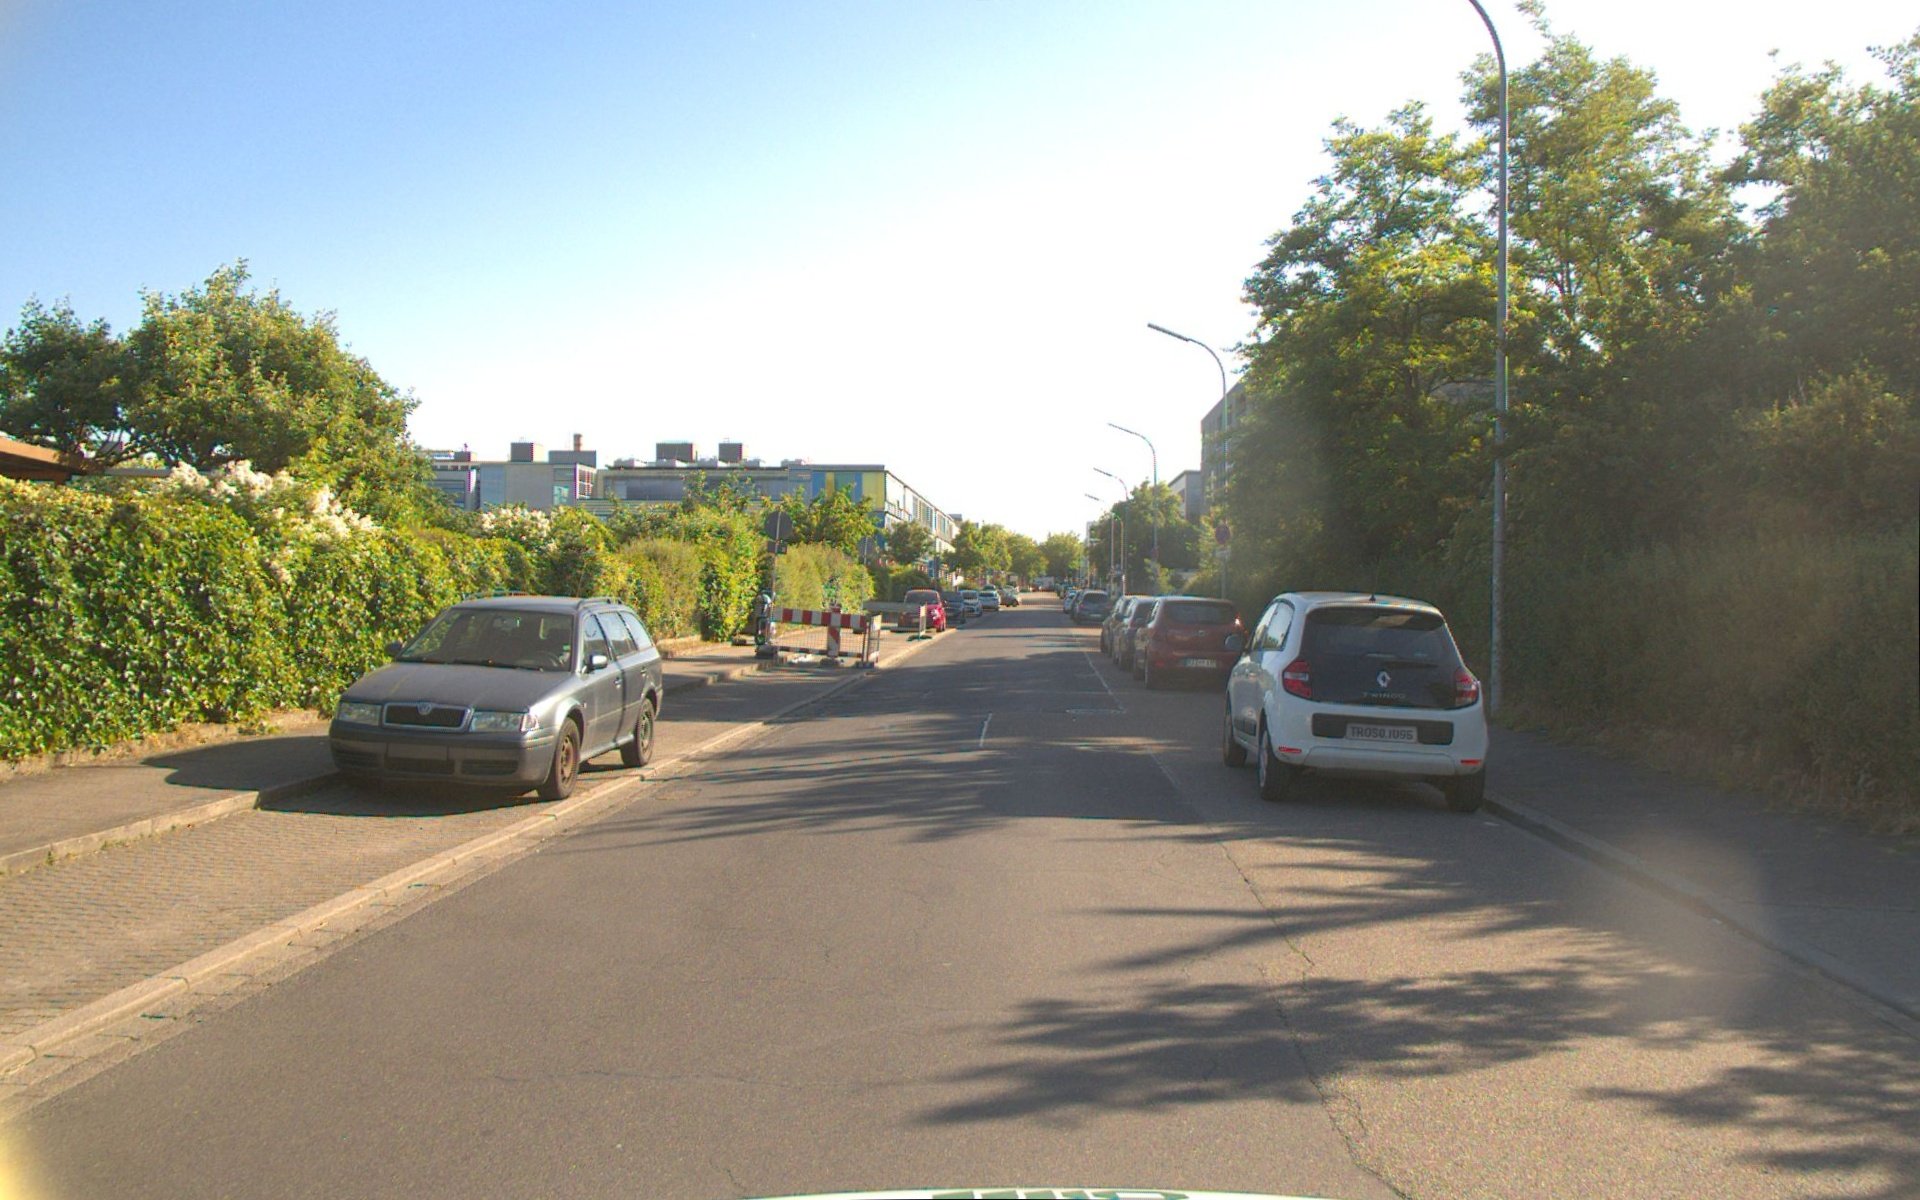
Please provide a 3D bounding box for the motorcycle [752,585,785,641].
[{"bbox_3d":[-4.577,0.310,39.626,0.555,1.290,2.090,1,0,-1],"label":"motorcycle"}]

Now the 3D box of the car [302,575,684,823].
[{"bbox_3d":[-3.611,0.667,13.684,1.610,1.583,4.419,5,1,3],"label":"car"}]

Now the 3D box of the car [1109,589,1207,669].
[{"bbox_3d":[4.062,0.556,34.540,1.620,1.470,4.658,2,1,2],"label":"car"}]

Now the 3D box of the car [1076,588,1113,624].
[{"bbox_3d":[6.186,0.271,76.407,1.588,1.553,3.903,2,1,4],"label":"car"}]

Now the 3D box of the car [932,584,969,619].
[{"bbox_3d":[-0.435,0.057,78.687,1.527,1.520,3.572,3,1,3],"label":"car"}]

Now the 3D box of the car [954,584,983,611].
[{"bbox_3d":[0.493,-0.146,95.714,1.527,1.521,3.760,0,0,3],"label":"car"}]

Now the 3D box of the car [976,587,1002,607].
[{"bbox_3d":[2.227,-0.248,125.059,1.816,1.453,4.136,2,1,3],"label":"car"}]

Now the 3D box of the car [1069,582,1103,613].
[{"bbox_3d":[6.970,-0.141,91.880,1.705,1.653,4.180,2,1,3],"label":"car"}]

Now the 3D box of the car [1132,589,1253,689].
[{"bbox_3d":[3.930,0.615,28.409,1.620,1.512,3.840,2,1,2],"label":"car"}]

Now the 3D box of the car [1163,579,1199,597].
[{"bbox_3d":[20.485,-1.141,153.393,3.148,1.576,1.451,2,0,6],"label":"car"}]

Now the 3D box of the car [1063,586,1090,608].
[{"bbox_3d":[8.137,-0.200,115.746,1.705,1.453,4.136,2,1,3],"label":"car"}]

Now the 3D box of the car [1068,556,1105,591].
[{"bbox_3d":[6.224,-1.299,81.696,1.641,1.636,4.180,2,1,2],"label":"car"}]

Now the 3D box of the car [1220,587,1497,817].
[{"bbox_3d":[3.120,0.711,13.574,1.523,1.565,3.557,2,1,3],"label":"car"}]

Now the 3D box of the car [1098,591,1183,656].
[{"bbox_3d":[4.460,0.550,41.438,1.717,1.438,4.657,2,1,2],"label":"car"}]

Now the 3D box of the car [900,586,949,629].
[{"bbox_3d":[-1.282,0.254,60.393,1.527,1.521,3.572,0,0,3],"label":"car"}]
